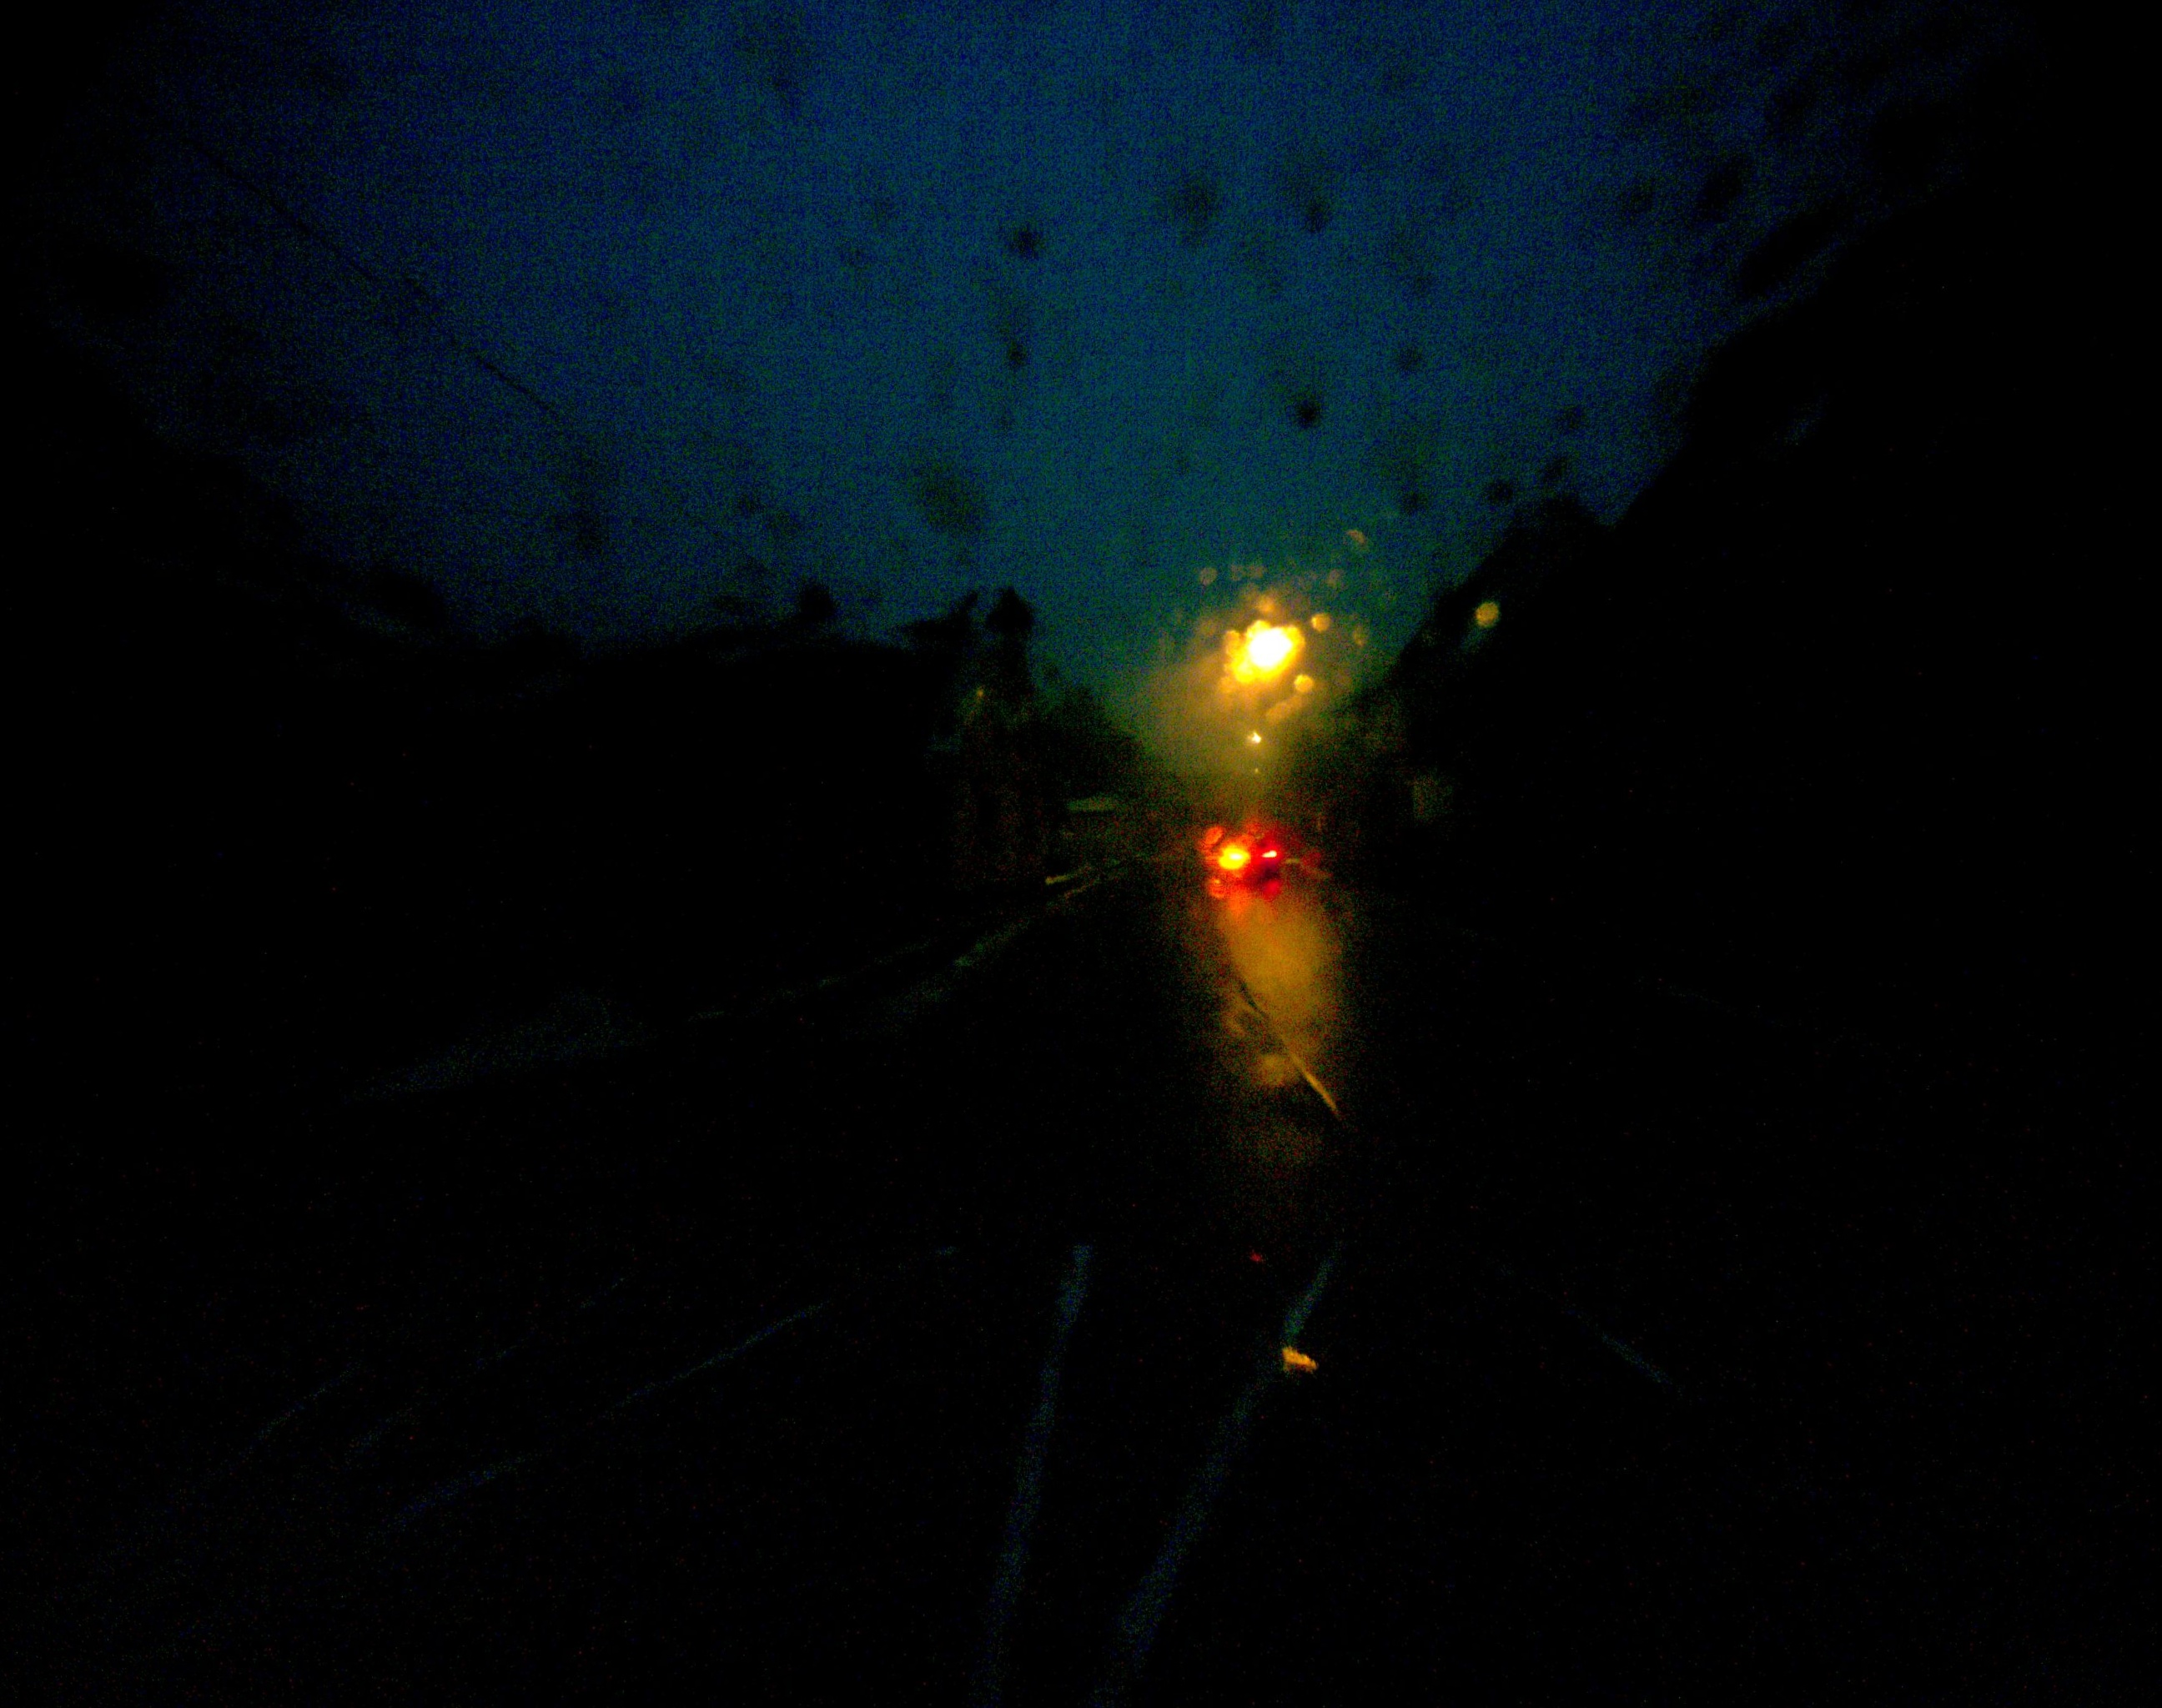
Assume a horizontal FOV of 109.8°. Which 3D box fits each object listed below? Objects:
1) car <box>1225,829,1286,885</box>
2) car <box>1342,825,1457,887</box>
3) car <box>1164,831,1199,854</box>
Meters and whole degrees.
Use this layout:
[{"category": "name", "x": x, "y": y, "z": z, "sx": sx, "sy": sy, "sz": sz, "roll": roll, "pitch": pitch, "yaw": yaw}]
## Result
[{"category": "car", "x": 6.157, "y": 0.033, "z": 27.214, "sx": 1.844, "sy": 1.678, "sz": 4.478, "roll": -1, "pitch": 3, "yaw": 9}, {"category": "car", "x": 9.084, "y": 0.019, "z": 22.078, "sx": 1.997, "sy": 1.514, "sz": 4.192, "roll": -4, "pitch": 1, "yaw": 8}, {"category": "car", "x": 7.192, "y": -0.847, "z": 53.959, "sx": 1.913, "sy": 1.473, "sz": 4.284, "roll": -1, "pitch": 3, "yaw": 14}]
